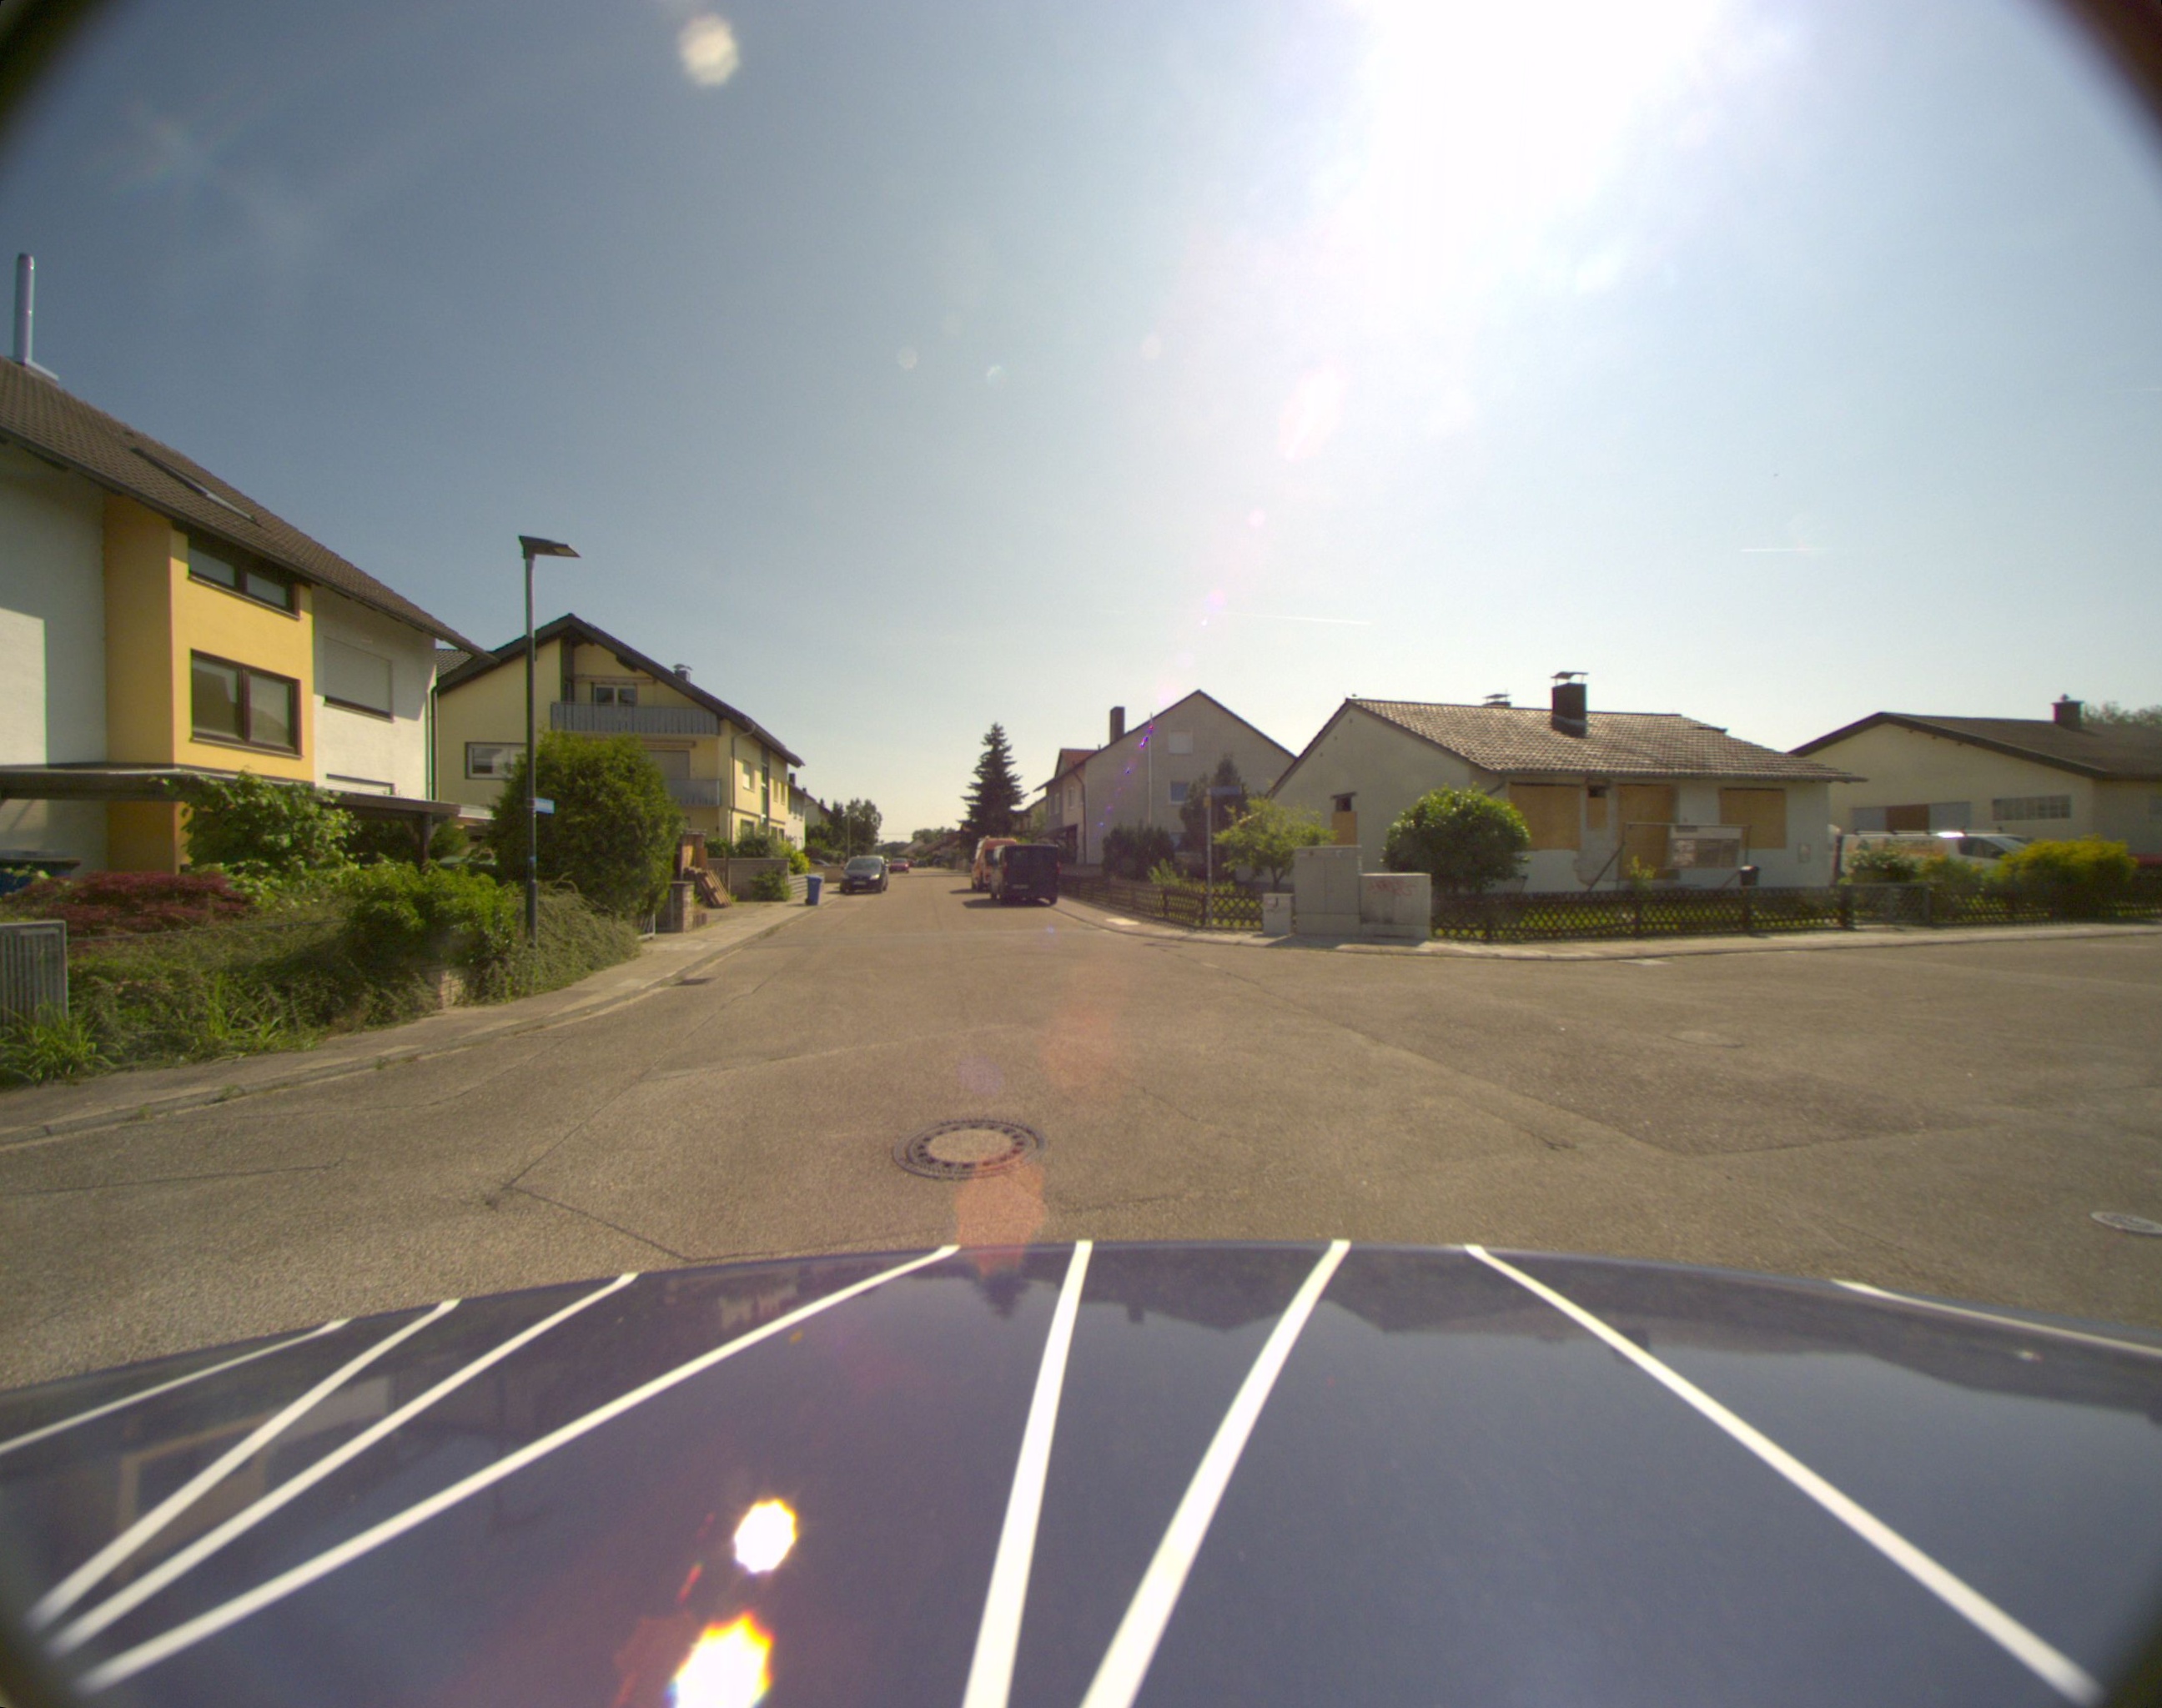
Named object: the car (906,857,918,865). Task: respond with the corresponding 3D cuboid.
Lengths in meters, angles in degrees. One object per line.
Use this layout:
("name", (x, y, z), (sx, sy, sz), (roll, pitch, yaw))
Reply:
("car", (-30.724, 1.336, 138.047), (1.712, 1.332, 3.994), (-2, -1, -20))

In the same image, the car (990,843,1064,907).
("car", (-1.914, 0.647, 25.809), (1.872, 1.927, 4.199), (-1, 0, -13))

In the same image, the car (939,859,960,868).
("car", (-23.519, 1.665, 136.015), (3.417, 1.521, 1.635), (-1, 1, -18))

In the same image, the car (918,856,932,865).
("car", (-25.935, 1.107, 126.306), (1.712, 1.332, 3.994), (-2, -1, -20))

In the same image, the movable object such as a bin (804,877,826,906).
("movable object such as a bin", (-8.590, 1.206, 24.589), (0.585, 0.911, 0.597), (-2, 1, -13))

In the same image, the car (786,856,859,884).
("car", (-16.532, 1.012, 48.807), (4.177, 1.608, 1.874), (-2, -1, -12))

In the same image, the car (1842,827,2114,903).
("car", (26.662, 0.273, 22.925), (1.868, 2.002, 5.006), (-1, 1, -12))

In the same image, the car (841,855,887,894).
("car", (-9.665, 0.877, 34.058), (1.633, 1.616, 3.996), (0, 0, -10))

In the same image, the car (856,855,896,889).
("car", (-10.630, 0.904, 39.610), (1.633, 1.616, 3.996), (-1, 0, -11))

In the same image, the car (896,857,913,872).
("car", (-17.568, 1.009, 75.521), (1.519, 1.398, 3.673), (-2, 0, -15))

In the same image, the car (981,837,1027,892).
("car", (-3.606, 0.451, 35.006), (1.557, 2.310, 4.199), (-1, 0, -13))
